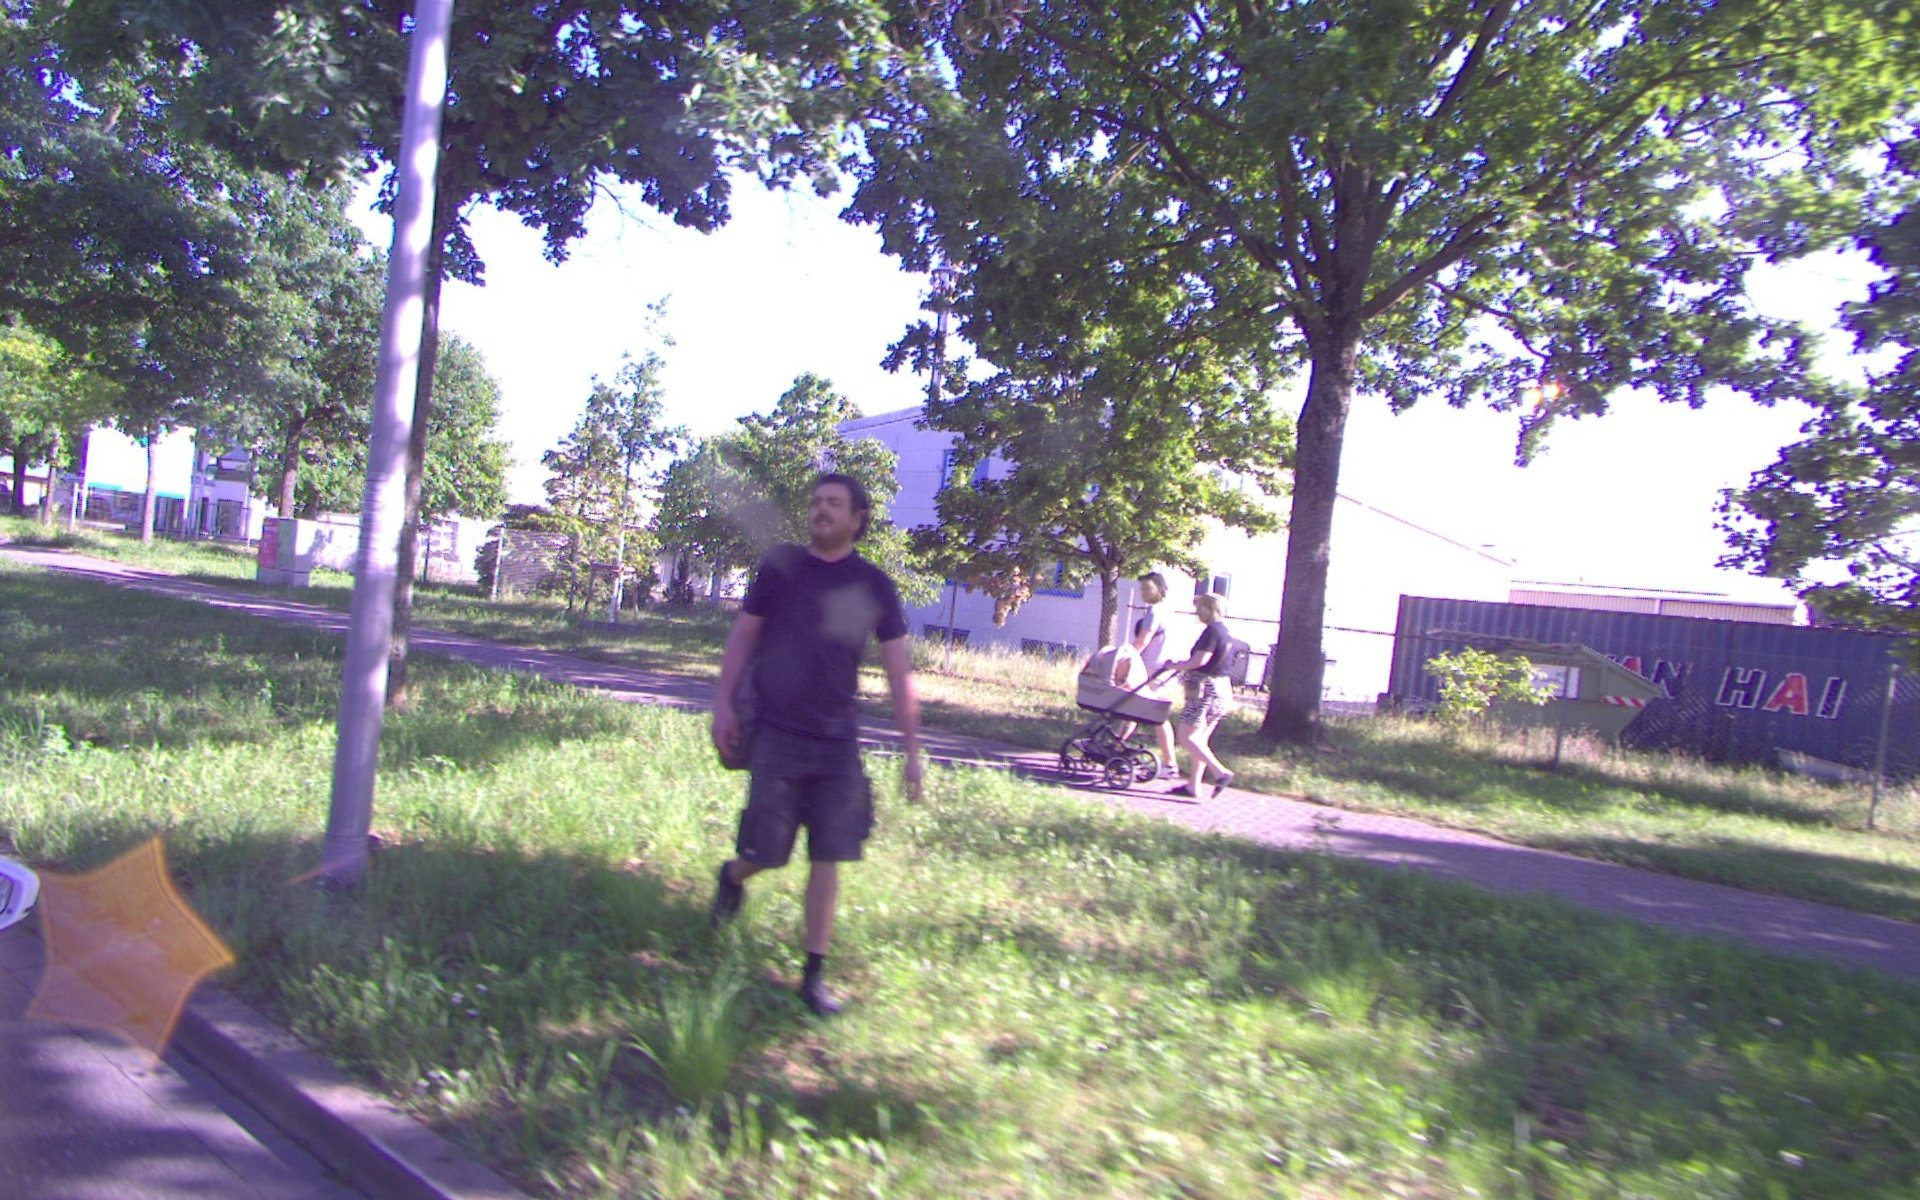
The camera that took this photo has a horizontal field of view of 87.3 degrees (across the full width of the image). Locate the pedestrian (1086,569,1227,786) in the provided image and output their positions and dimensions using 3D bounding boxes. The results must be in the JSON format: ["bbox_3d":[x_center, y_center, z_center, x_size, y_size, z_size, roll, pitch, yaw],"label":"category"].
[{"bbox_3d":[1.771,0.673,9.047,0.853,1.777,0.726,7,1,32],"label":"pedestrian"}]

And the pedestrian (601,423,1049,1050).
[{"bbox_3d":[-0.511,0.391,3.388,1.011,1.672,1.091,6,1,-29],"label":"pedestrian"}]

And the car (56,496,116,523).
[{"bbox_3d":[-60.061,-6.223,69.116,3.701,1.401,1.769,7,0,27],"label":"car"}]

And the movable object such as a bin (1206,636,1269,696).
[{"bbox_3d":[7.480,1.779,27.118,1.180,1.424,1.047,6,1,-41],"label":"movable object such as a bin"}]

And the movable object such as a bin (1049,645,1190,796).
[{"bbox_3d":[1.341,0.971,8.419,0.853,1.095,0.726,7,2,32],"label":"movable object such as a bin"}]

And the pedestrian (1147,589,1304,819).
[{"bbox_3d":[2.100,0.789,7.944,0.853,1.623,0.726,7,1,32],"label":"pedestrian"}]

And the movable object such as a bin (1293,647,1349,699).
[{"bbox_3d":[11.045,2.240,30.812,1.180,1.424,1.047,6,1,-41],"label":"movable object such as a bin"}]

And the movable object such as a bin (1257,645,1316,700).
[{"bbox_3d":[9.470,2.095,29.203,1.180,1.424,1.047,6,1,-41],"label":"movable object such as a bin"}]
